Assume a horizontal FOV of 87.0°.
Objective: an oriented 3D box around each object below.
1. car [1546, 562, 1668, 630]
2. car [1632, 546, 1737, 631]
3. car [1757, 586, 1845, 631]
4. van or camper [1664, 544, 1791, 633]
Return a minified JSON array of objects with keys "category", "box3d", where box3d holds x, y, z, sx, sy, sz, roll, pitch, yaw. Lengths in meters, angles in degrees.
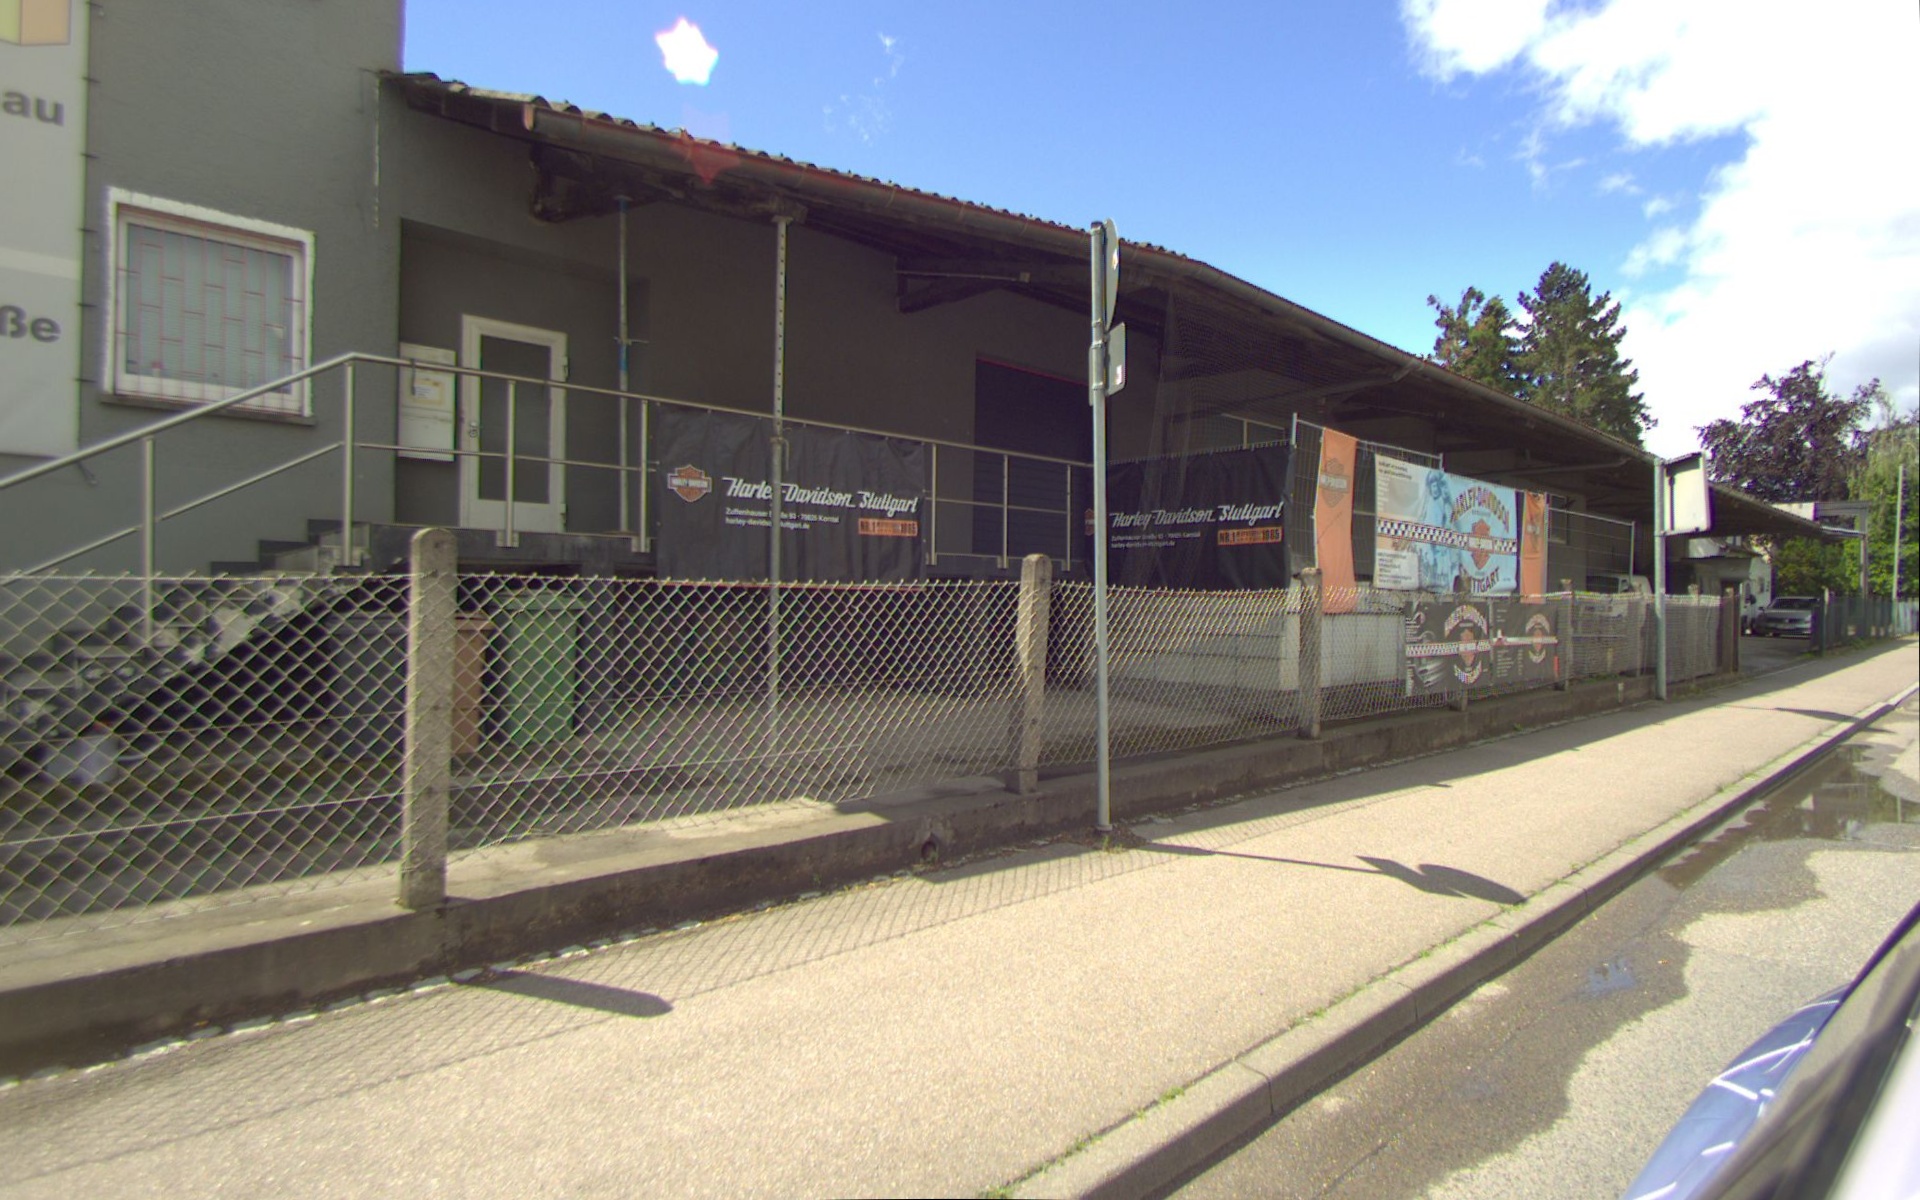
[{"category":"car","box3d":[19.802,-0.100,30.911,4.770,1.934,1.996,1,0,-43]},{"category":"car","box3d":[25.150,-0.320,35.033,5.405,2.715,2.019,2,-1,-44]},{"category":"car","box3d":[29.621,0.298,35.593,4.842,1.508,1.766,1,0,-43]},{"category":"van or camper","box3d":[29.614,-0.426,38.926,6.798,3.099,2.883,0,0,-44]}]
